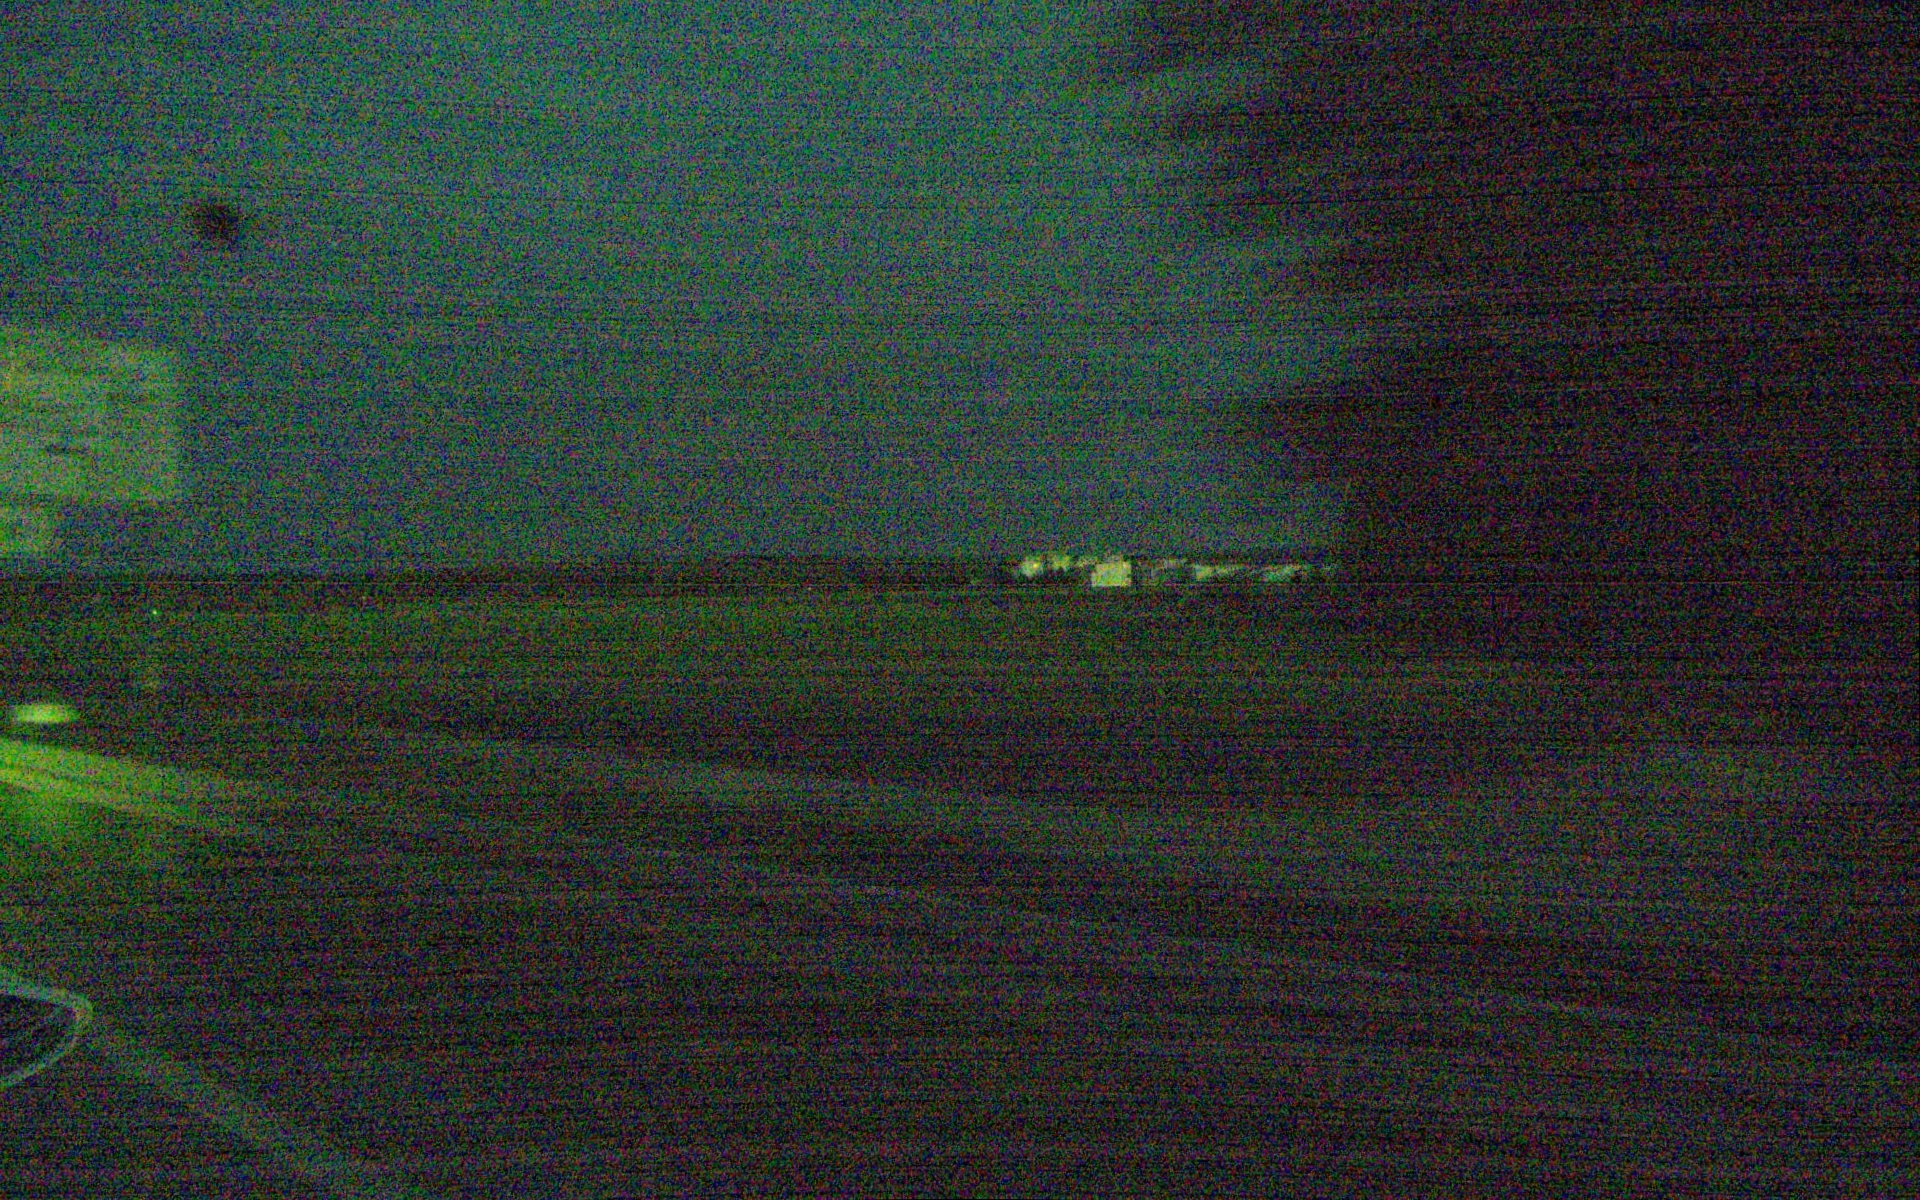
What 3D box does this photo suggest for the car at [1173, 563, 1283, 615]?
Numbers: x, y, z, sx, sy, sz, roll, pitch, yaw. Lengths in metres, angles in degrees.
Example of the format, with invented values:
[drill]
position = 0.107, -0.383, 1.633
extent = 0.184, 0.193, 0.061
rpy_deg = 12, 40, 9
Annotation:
[car]
position = 11.734, -0.466, 43.867
extent = 4.500, 2.181, 1.995
rpy_deg = -1, 1, 20
